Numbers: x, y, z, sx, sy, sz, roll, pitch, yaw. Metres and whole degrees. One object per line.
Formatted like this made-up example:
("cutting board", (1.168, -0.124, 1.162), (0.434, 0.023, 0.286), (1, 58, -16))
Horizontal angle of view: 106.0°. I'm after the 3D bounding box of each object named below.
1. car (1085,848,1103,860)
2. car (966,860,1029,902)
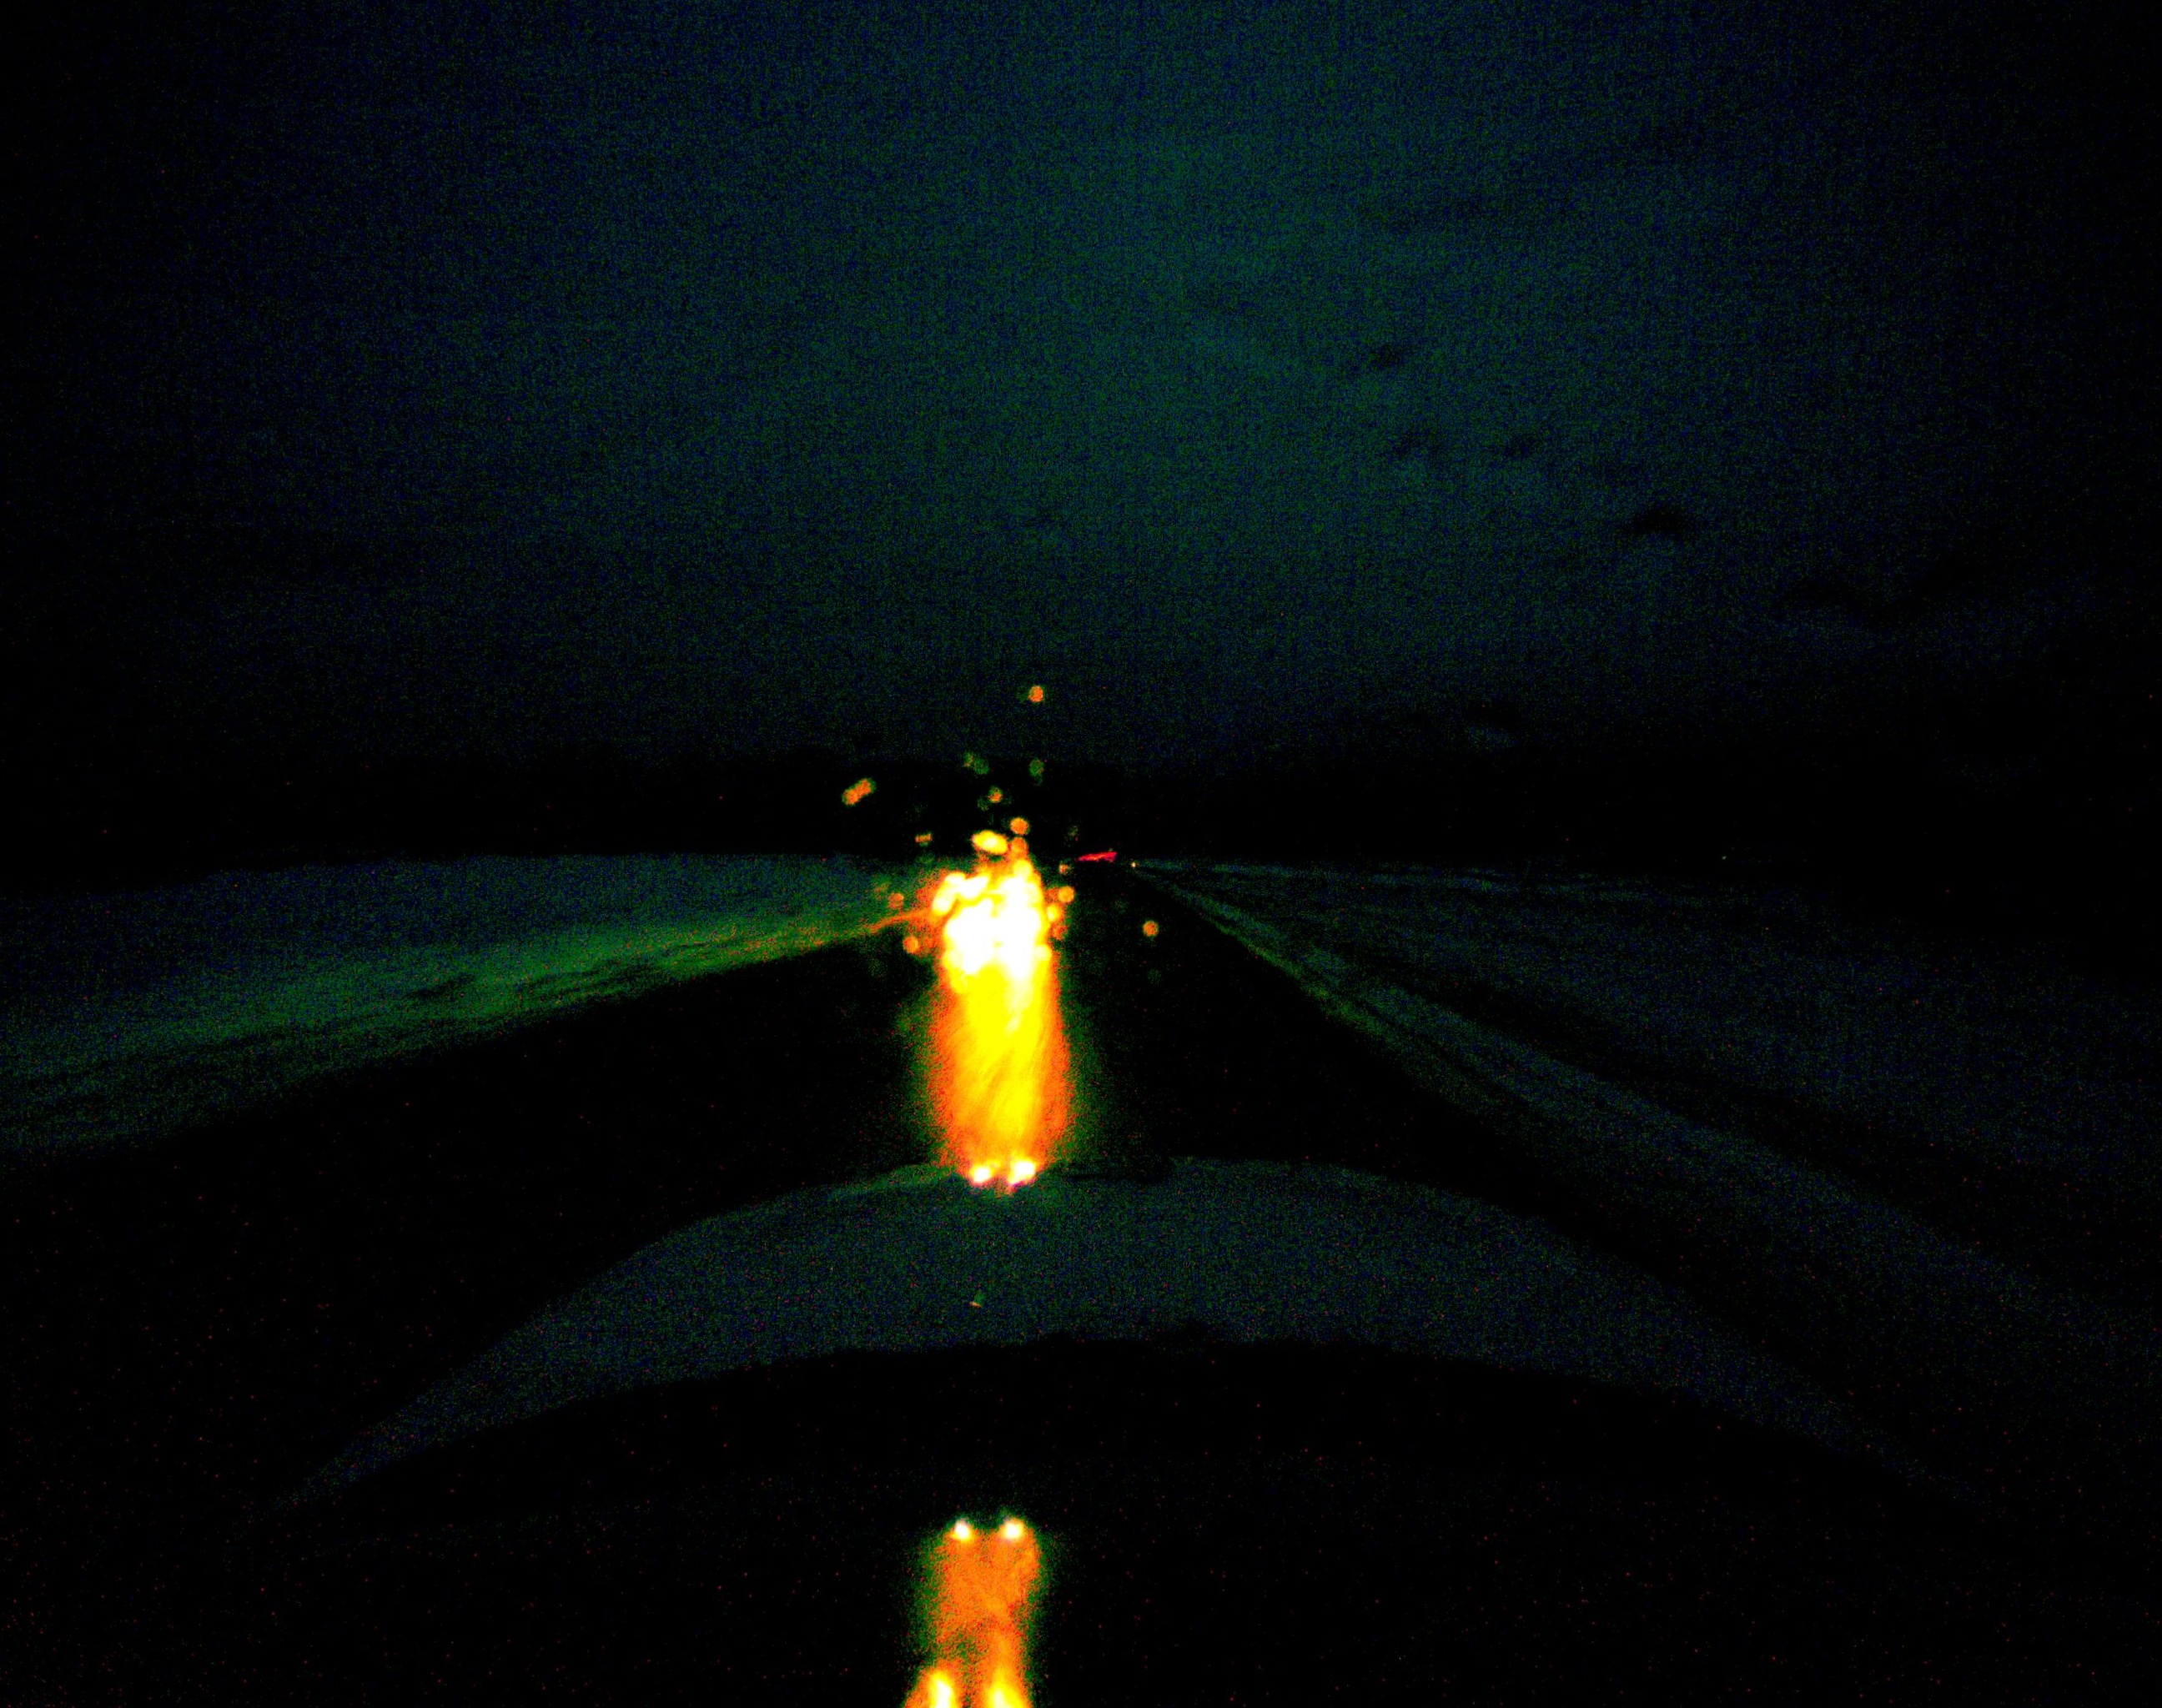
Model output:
("car", (2.296, 0.025, 141.353), (1.978, 2.051, 4.018), (0, 0, 17))
("car", (-3.001, 0.943, 30.107), (1.721, 1.346, 4.223), (-2, 0, 1))
